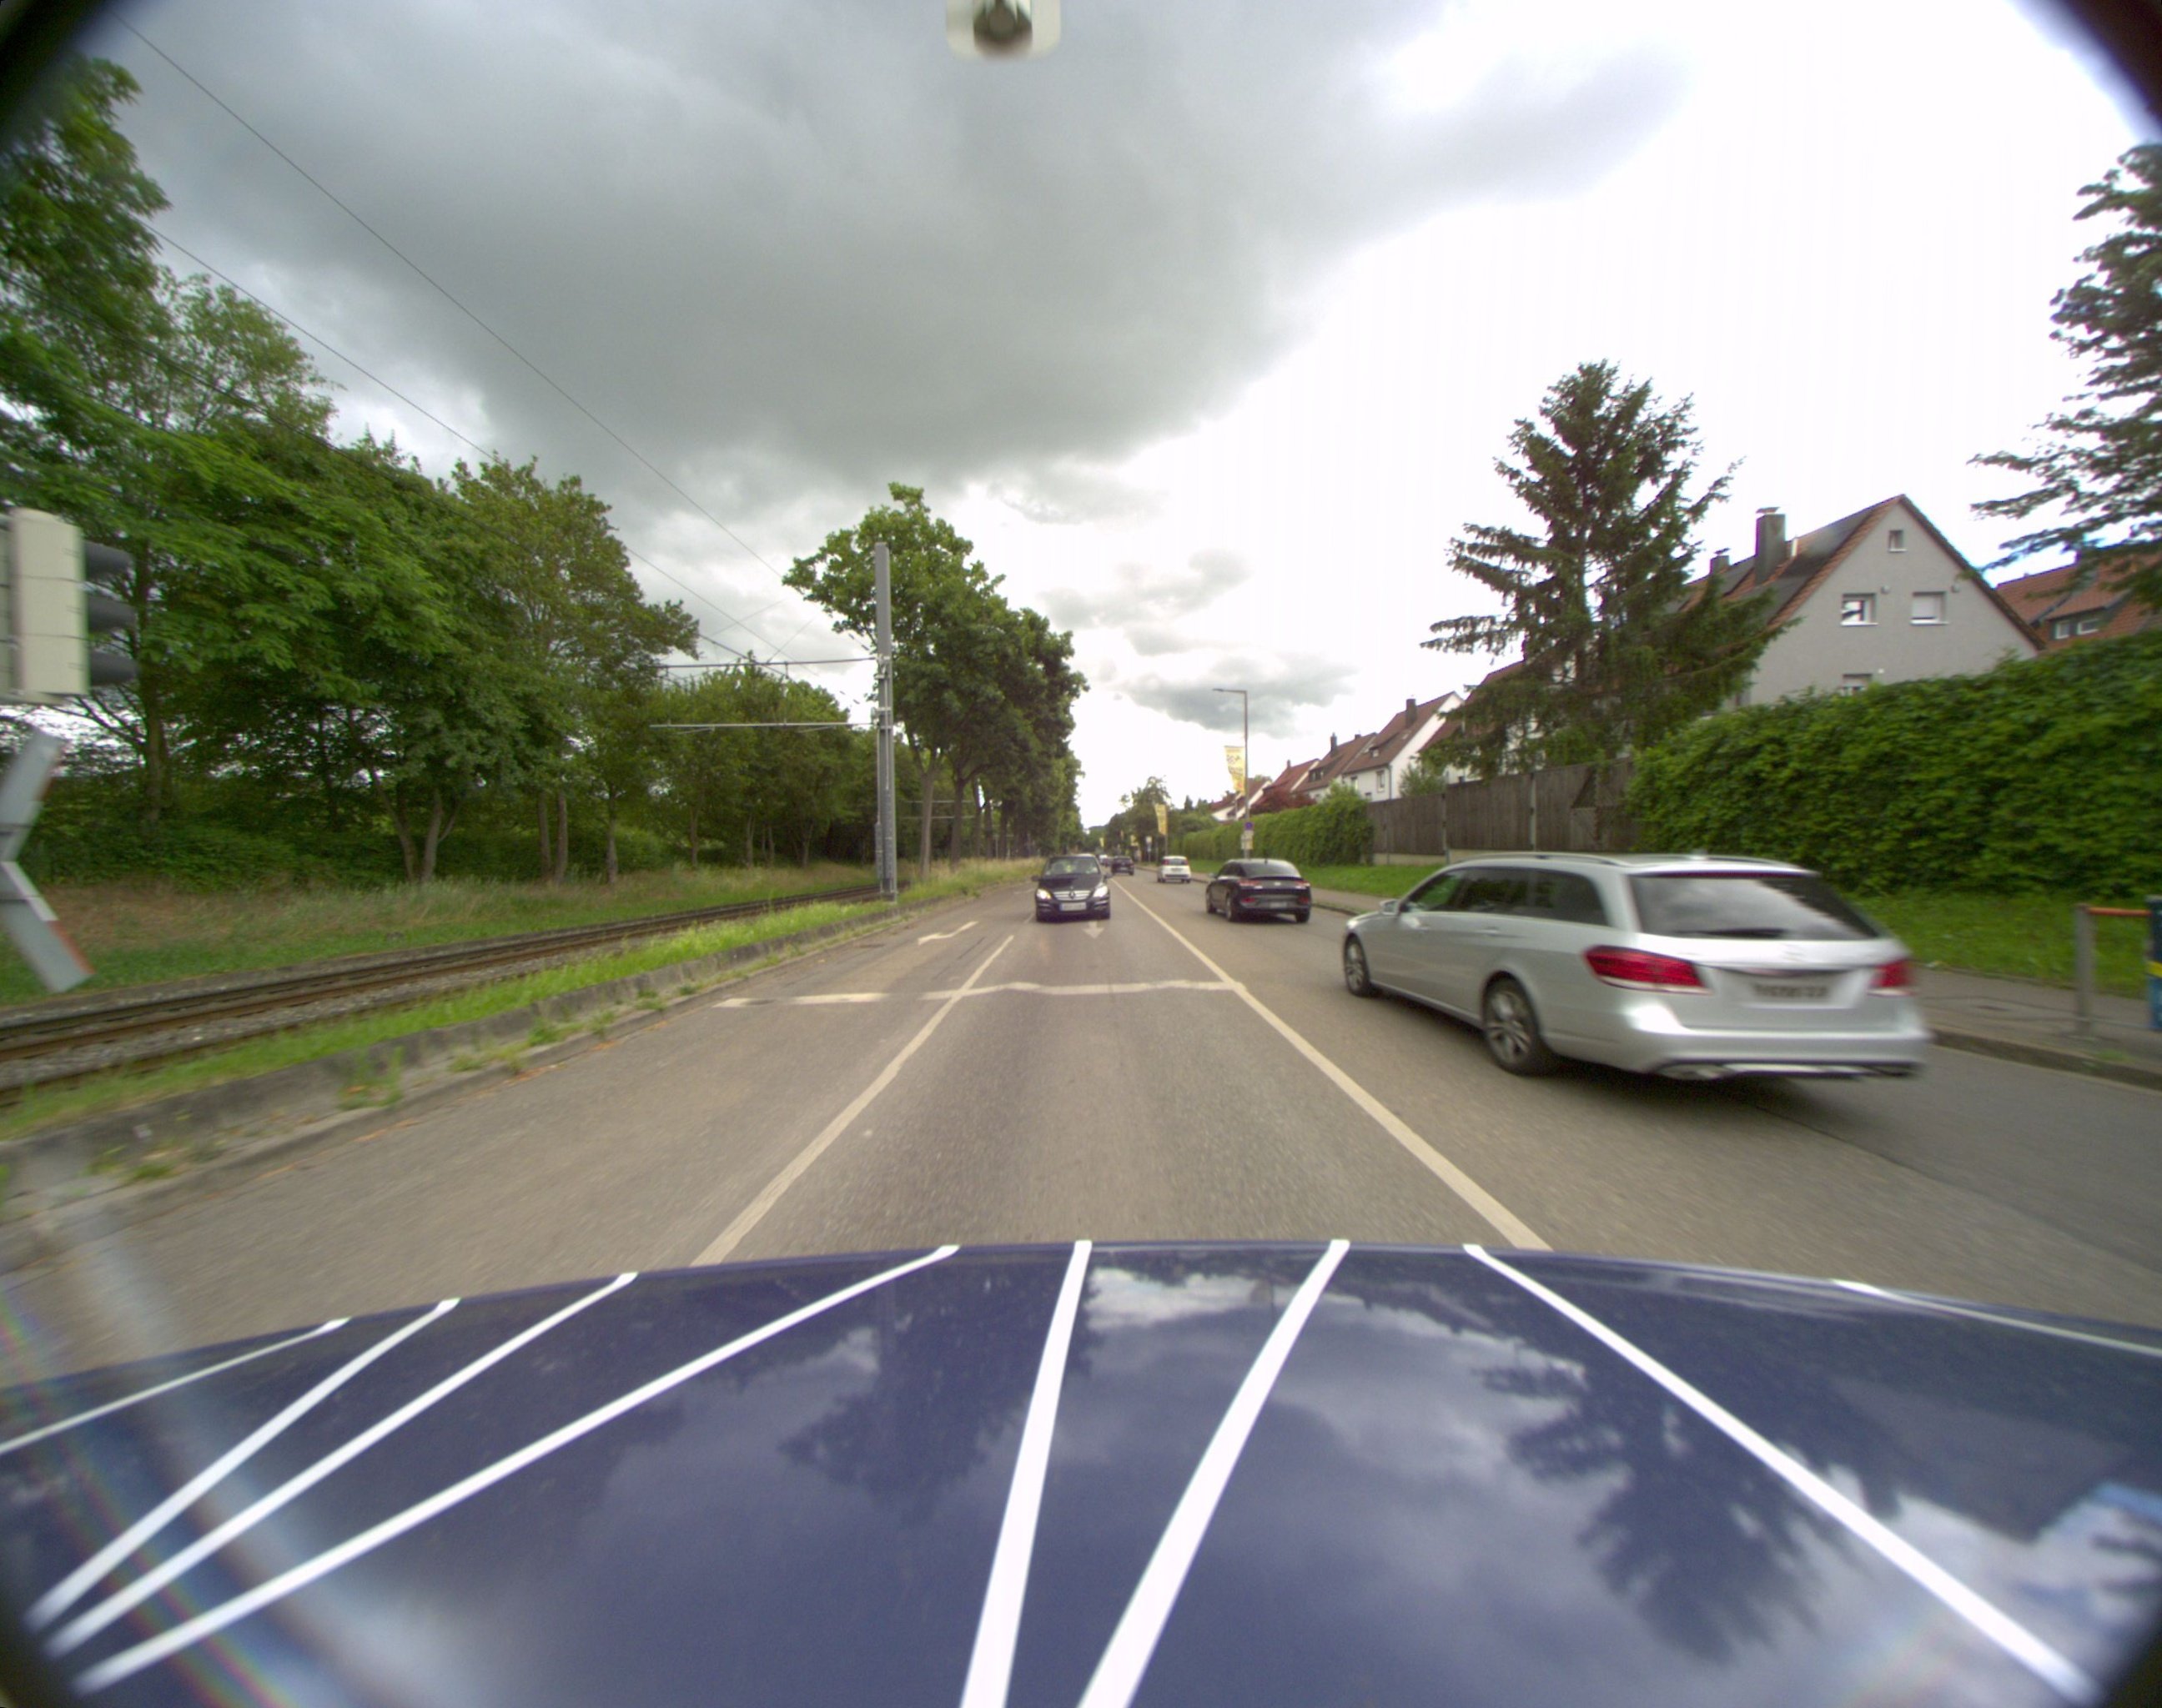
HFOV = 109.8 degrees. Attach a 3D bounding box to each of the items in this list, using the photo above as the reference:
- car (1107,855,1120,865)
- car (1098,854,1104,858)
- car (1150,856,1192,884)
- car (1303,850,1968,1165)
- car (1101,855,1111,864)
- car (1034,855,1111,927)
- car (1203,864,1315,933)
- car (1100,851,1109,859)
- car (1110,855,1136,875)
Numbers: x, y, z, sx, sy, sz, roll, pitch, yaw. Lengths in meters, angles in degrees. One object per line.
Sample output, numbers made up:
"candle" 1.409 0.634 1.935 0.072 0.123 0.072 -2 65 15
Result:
"car" 4.784 0.914 113.181 1.732 1.455 4.153 0 0 0
"car" 6.310 0.588 240.594 1.737 1.367 4.239 -1 0 0
"car" 5.210 0.891 44.429 1.817 1.515 4.700 1 0 -1
"car" 3.657 0.791 6.552 1.823 1.558 5.204 -2 0 -1
"car" 4.651 1.035 139.297 1.756 1.510 4.000 -1 0 2
"car" -0.193 0.846 19.567 1.683 1.565 4.482 -2 0 0
"car" 4.152 0.982 18.381 1.817 1.365 4.160 1 0 1
"car" 5.752 0.253 184.916 1.911 1.921 4.910 2 1 0
"car" 3.395 0.858 61.943 1.817 1.515 4.176 1 0 -1
